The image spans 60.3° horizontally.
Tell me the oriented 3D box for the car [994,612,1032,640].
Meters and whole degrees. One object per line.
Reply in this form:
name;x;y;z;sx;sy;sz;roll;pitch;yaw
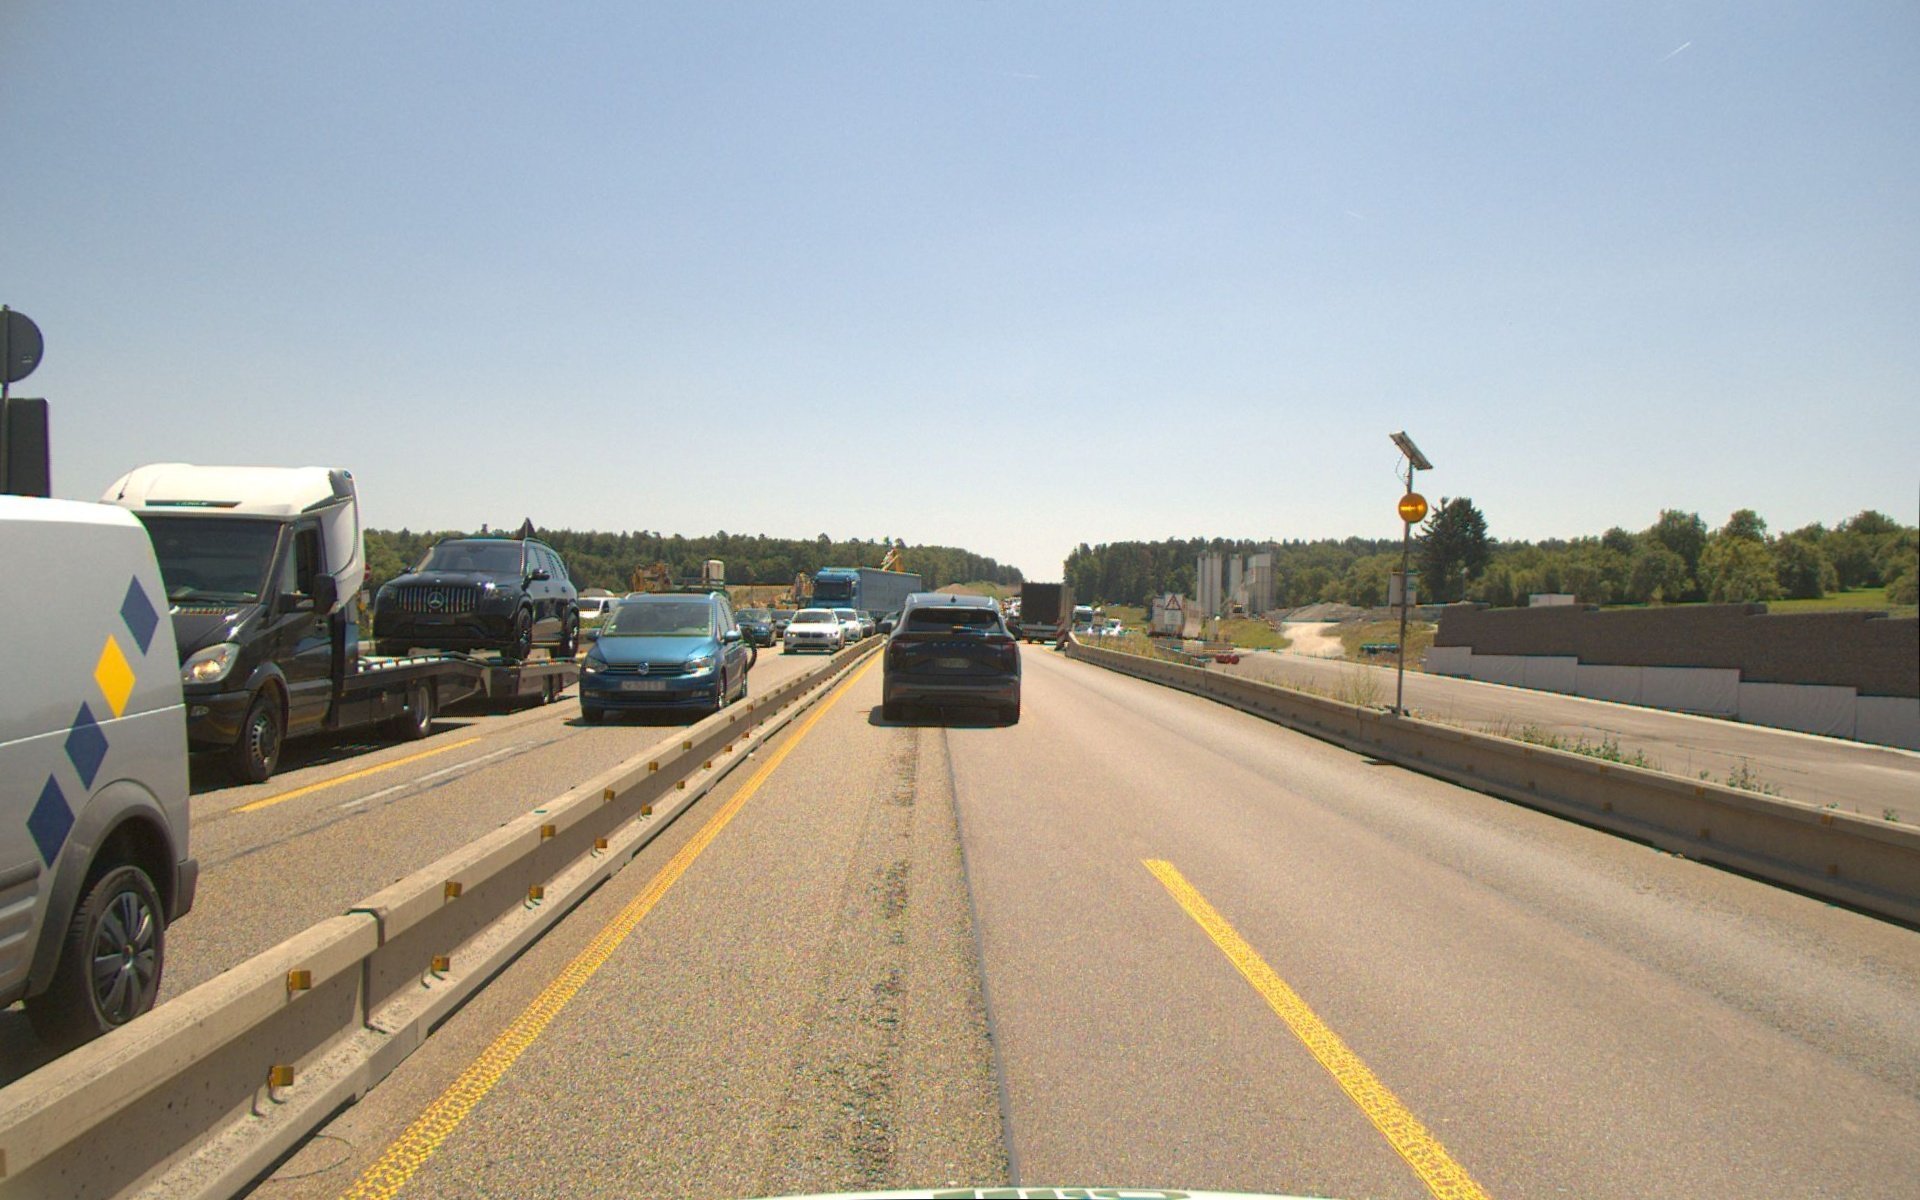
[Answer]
car;3.406;1.702;106.108;1.782;1.673;3.868;3;-1;11

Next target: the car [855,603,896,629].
car;-4.909;0.924;96.278;1.555;1.466;4.128;0;0;9

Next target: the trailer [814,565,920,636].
trailer;-5.747;0.012;106.260;2.852;4.201;13.927;1;0;13

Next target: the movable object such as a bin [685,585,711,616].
movable object such as a bin;-29.309;-0.005;184.892;2.379;3.180;5.466;5;0;-11

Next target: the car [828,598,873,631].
car;-5.204;0.663;79.270;1.975;1.470;4.586;1;1;-2

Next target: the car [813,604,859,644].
car;-5.140;0.972;68.935;1.699;1.504;4.518;1;1;-2

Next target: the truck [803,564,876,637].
truck;-7.215;0.041;99.816;2.852;4.201;6.144;1;0;11

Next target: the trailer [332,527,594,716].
trailer;-6.903;0.260;23.723;2.137;2.355;5.612;1;0;-1

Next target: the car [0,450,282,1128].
car;-3.546;0.518;4.251;1.816;1.872;4.589;1;1;-2

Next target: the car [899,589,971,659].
car;-0.786;0.687;48.886;1.954;1.876;3.998;3;0;-2

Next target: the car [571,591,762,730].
car;-3.813;0.730;22.138;1.866;1.637;3.999;1;1;-1

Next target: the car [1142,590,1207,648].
car;17.509;1.617;134.437;3.365;4.171;9.201;5;0;17

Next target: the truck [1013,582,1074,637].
truck;4.761;0.490;93.385;2.616;2.997;5.625;1;1;11

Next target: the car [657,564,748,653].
car;-7.616;0.235;49.462;1.875;2.441;6.450;-1;0;-2

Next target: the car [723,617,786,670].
car;-7.328;1.534;59.267;1.732;1.624;3.999;5;0;-2

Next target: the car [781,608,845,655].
car;-4.686;0.983;53.114;1.780;1.400;4.246;1;0;-2

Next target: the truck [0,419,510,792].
truck;-6.839;0.040;16.842;2.429;2.873;8.127;0;0;-1

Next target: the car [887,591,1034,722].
car;-0.010;0.700;22.502;1.805;1.609;3.999;0;0;-1
